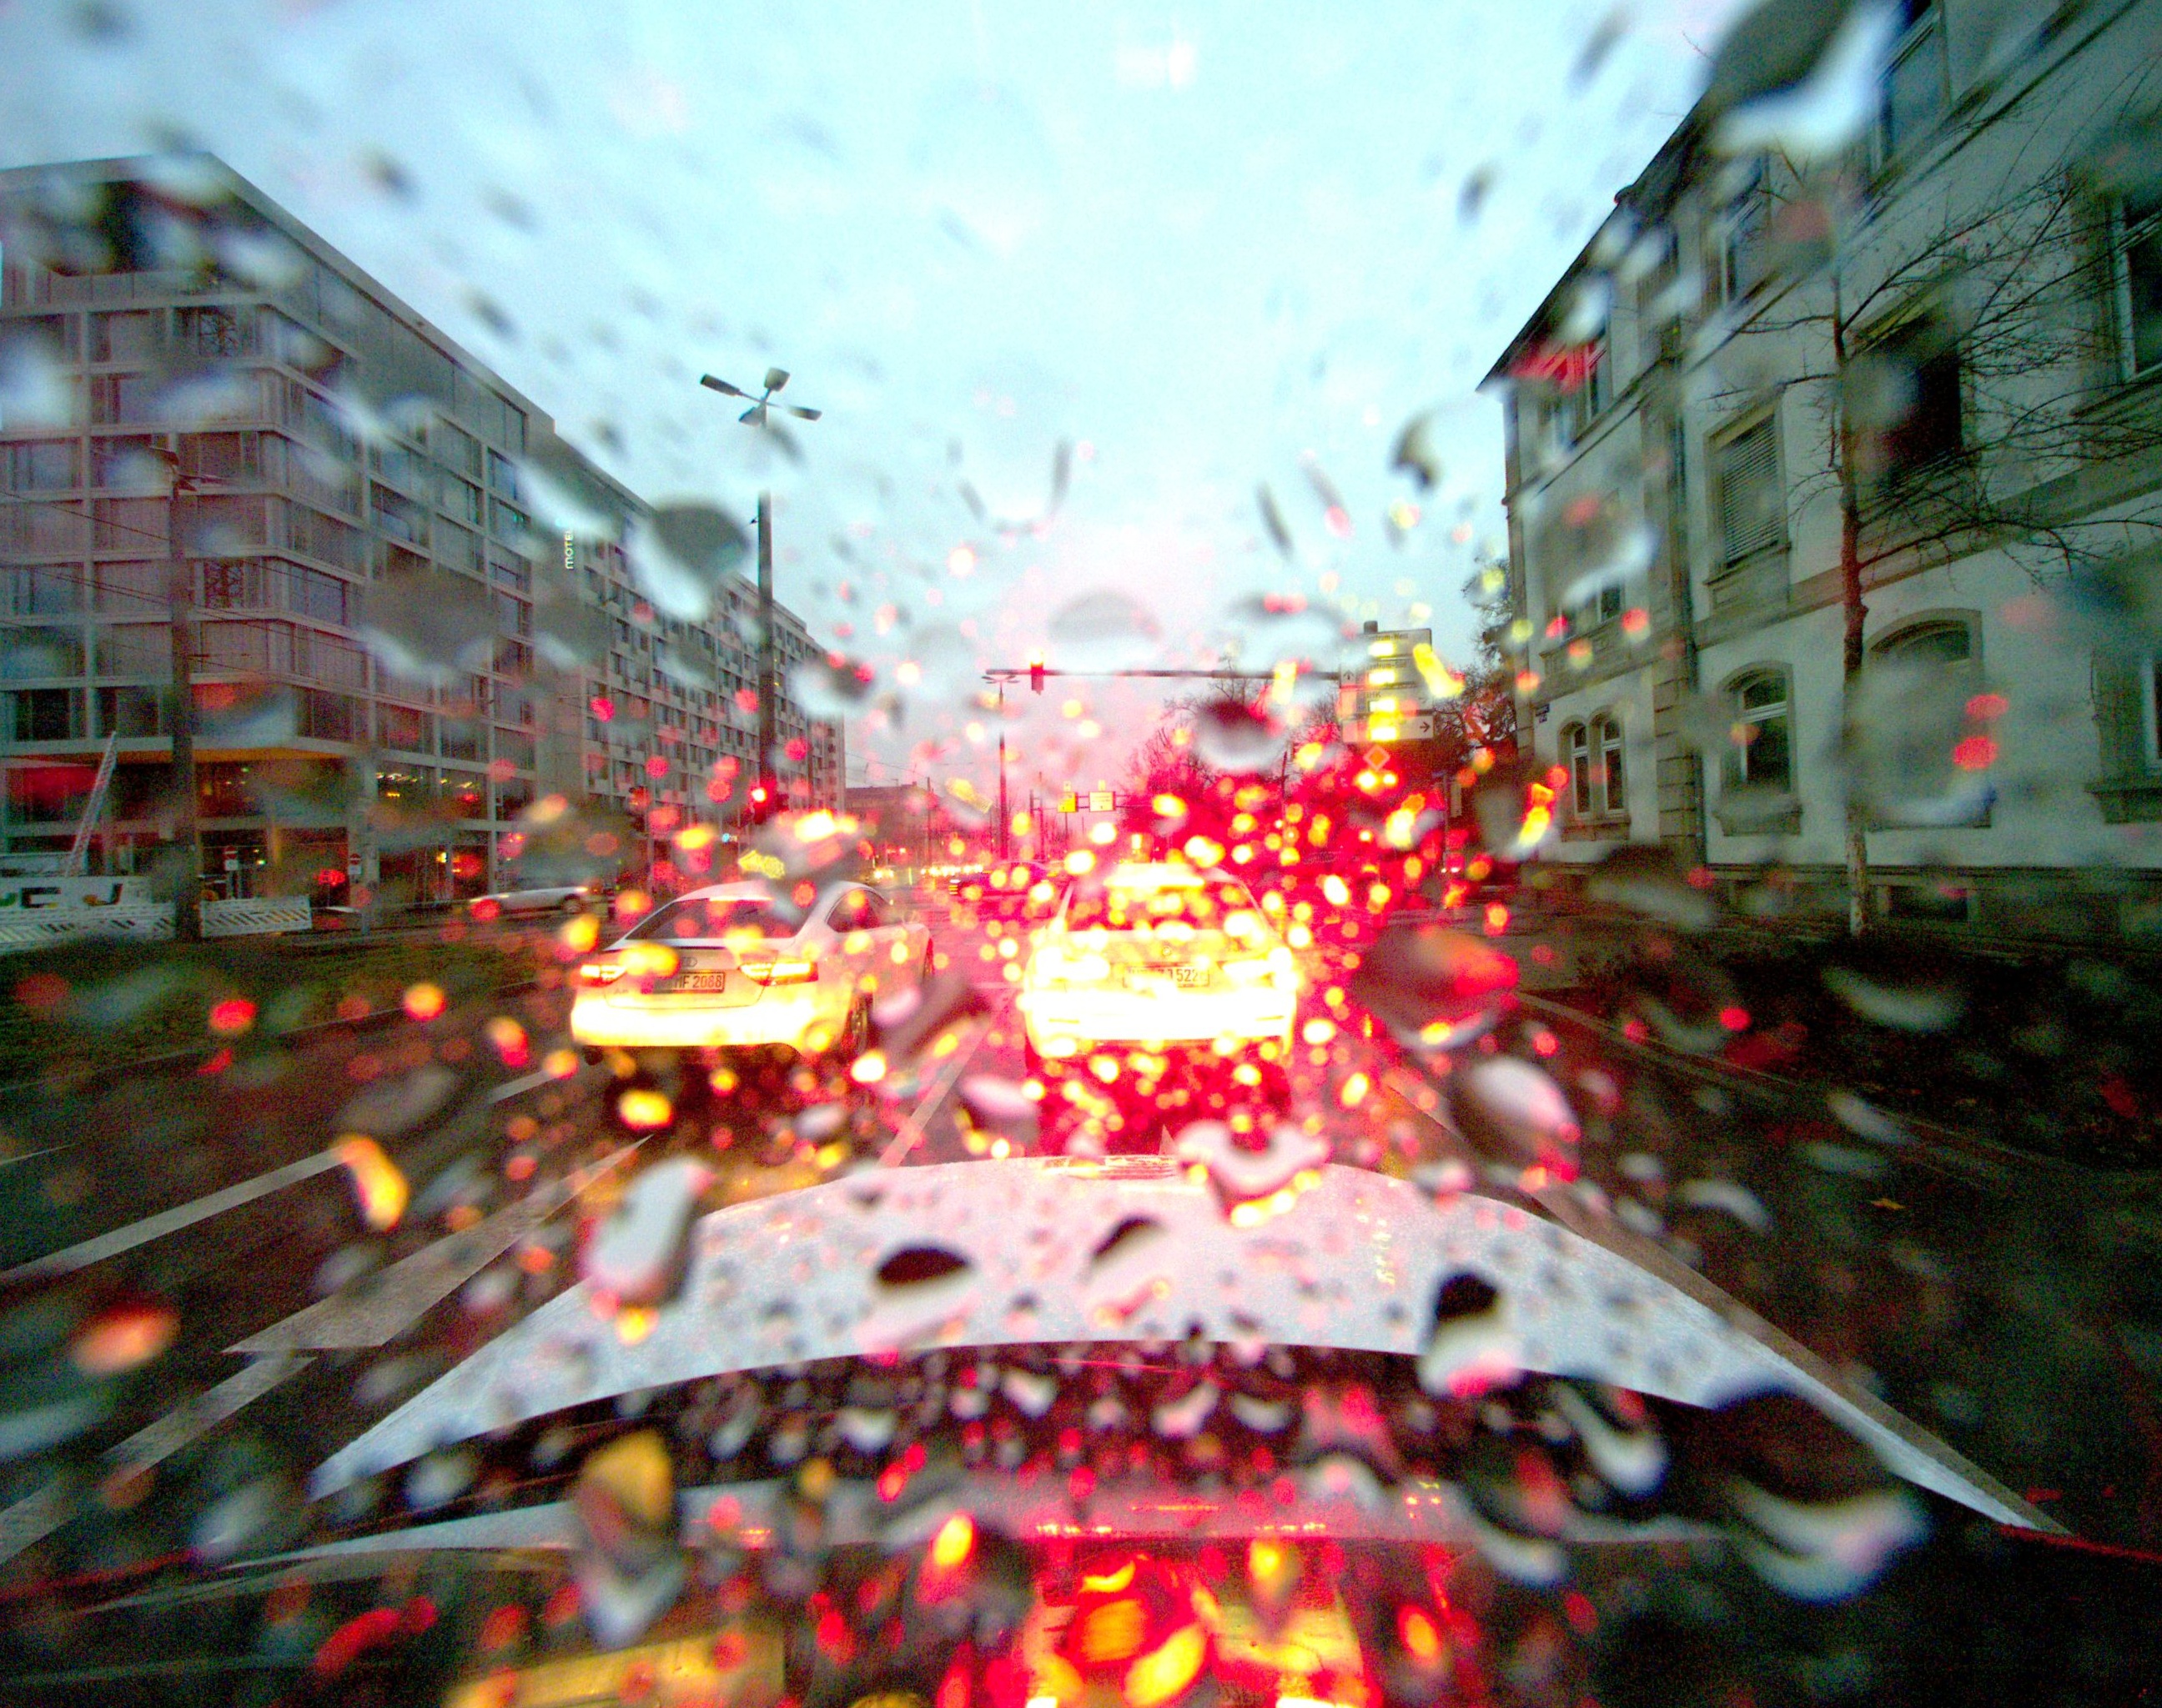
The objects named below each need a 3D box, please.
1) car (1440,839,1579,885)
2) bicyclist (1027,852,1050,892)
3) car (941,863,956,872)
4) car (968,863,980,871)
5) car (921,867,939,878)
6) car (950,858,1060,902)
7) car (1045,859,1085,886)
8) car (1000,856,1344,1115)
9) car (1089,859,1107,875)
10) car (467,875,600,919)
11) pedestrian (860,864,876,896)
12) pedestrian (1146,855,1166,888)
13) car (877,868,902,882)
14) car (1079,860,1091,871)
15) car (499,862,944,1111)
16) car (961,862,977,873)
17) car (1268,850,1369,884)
[{"bbox_3d":[14.518,0.295,27.872,4.056,1.441,1.850,-1,-1,23],"label":"car"},{"bbox_3d":[-1.911,0.803,36.666,0.968,1.759,0.814,0,-1,2],"label":"bicyclist"},{"bbox_3d":[-21.602,2.166,132.700,1.669,1.508,3.697,0,-1,1],"label":"car"},{"bbox_3d":[-20.450,2.571,155.638,1.669,1.508,3.697,0,-1,1],"label":"car"},{"bbox_3d":[-19.787,2.402,106.883,1.669,1.508,3.697,0,-1,1],"label":"car"},{"bbox_3d":[-2.853,0.971,31.203,3.970,1.622,1.721,0,-1,3],"label":"car"},{"bbox_3d":[-1.021,1.128,49.253,1.744,1.554,3.952,0,-1,-11],"label":"car"},{"bbox_3d":[0.534,0.770,6.930,1.987,1.456,4.367,-1,0,0],"label":"car"},{"bbox_3d":[1.704,1.308,83.378,1.836,1.609,3.945,0,-1,1],"label":"car"},{"bbox_3d":[-19.506,1.507,29.208,3.705,1.478,1.615,1,-1,-25],"label":"car"},{"bbox_3d":[-11.711,1.425,44.775,0.791,1.712,0.809,0,-1,-13],"label":"pedestrian"},{"bbox_3d":[4.241,0.979,45.779,0.894,1.856,0.817,-1,-1,26],"label":"pedestrian"},{"bbox_3d":[-20.389,2.220,86.889,1.669,1.508,3.697,0,-1,1],"label":"car"},{"bbox_3d":[0.690,1.836,128.312,1.836,1.609,3.945,0,-1,1],"label":"car"},{"bbox_3d":[-2.588,0.839,7.223,1.987,1.456,4.367,-1,0,0],"label":"car"},{"bbox_3d":[-15.777,1.858,114.654,1.669,1.508,3.697,0,-1,1],"label":"car"},{"bbox_3d":[10.282,0.582,35.266,3.951,1.402,1.767,0,-1,25],"label":"car"}]
